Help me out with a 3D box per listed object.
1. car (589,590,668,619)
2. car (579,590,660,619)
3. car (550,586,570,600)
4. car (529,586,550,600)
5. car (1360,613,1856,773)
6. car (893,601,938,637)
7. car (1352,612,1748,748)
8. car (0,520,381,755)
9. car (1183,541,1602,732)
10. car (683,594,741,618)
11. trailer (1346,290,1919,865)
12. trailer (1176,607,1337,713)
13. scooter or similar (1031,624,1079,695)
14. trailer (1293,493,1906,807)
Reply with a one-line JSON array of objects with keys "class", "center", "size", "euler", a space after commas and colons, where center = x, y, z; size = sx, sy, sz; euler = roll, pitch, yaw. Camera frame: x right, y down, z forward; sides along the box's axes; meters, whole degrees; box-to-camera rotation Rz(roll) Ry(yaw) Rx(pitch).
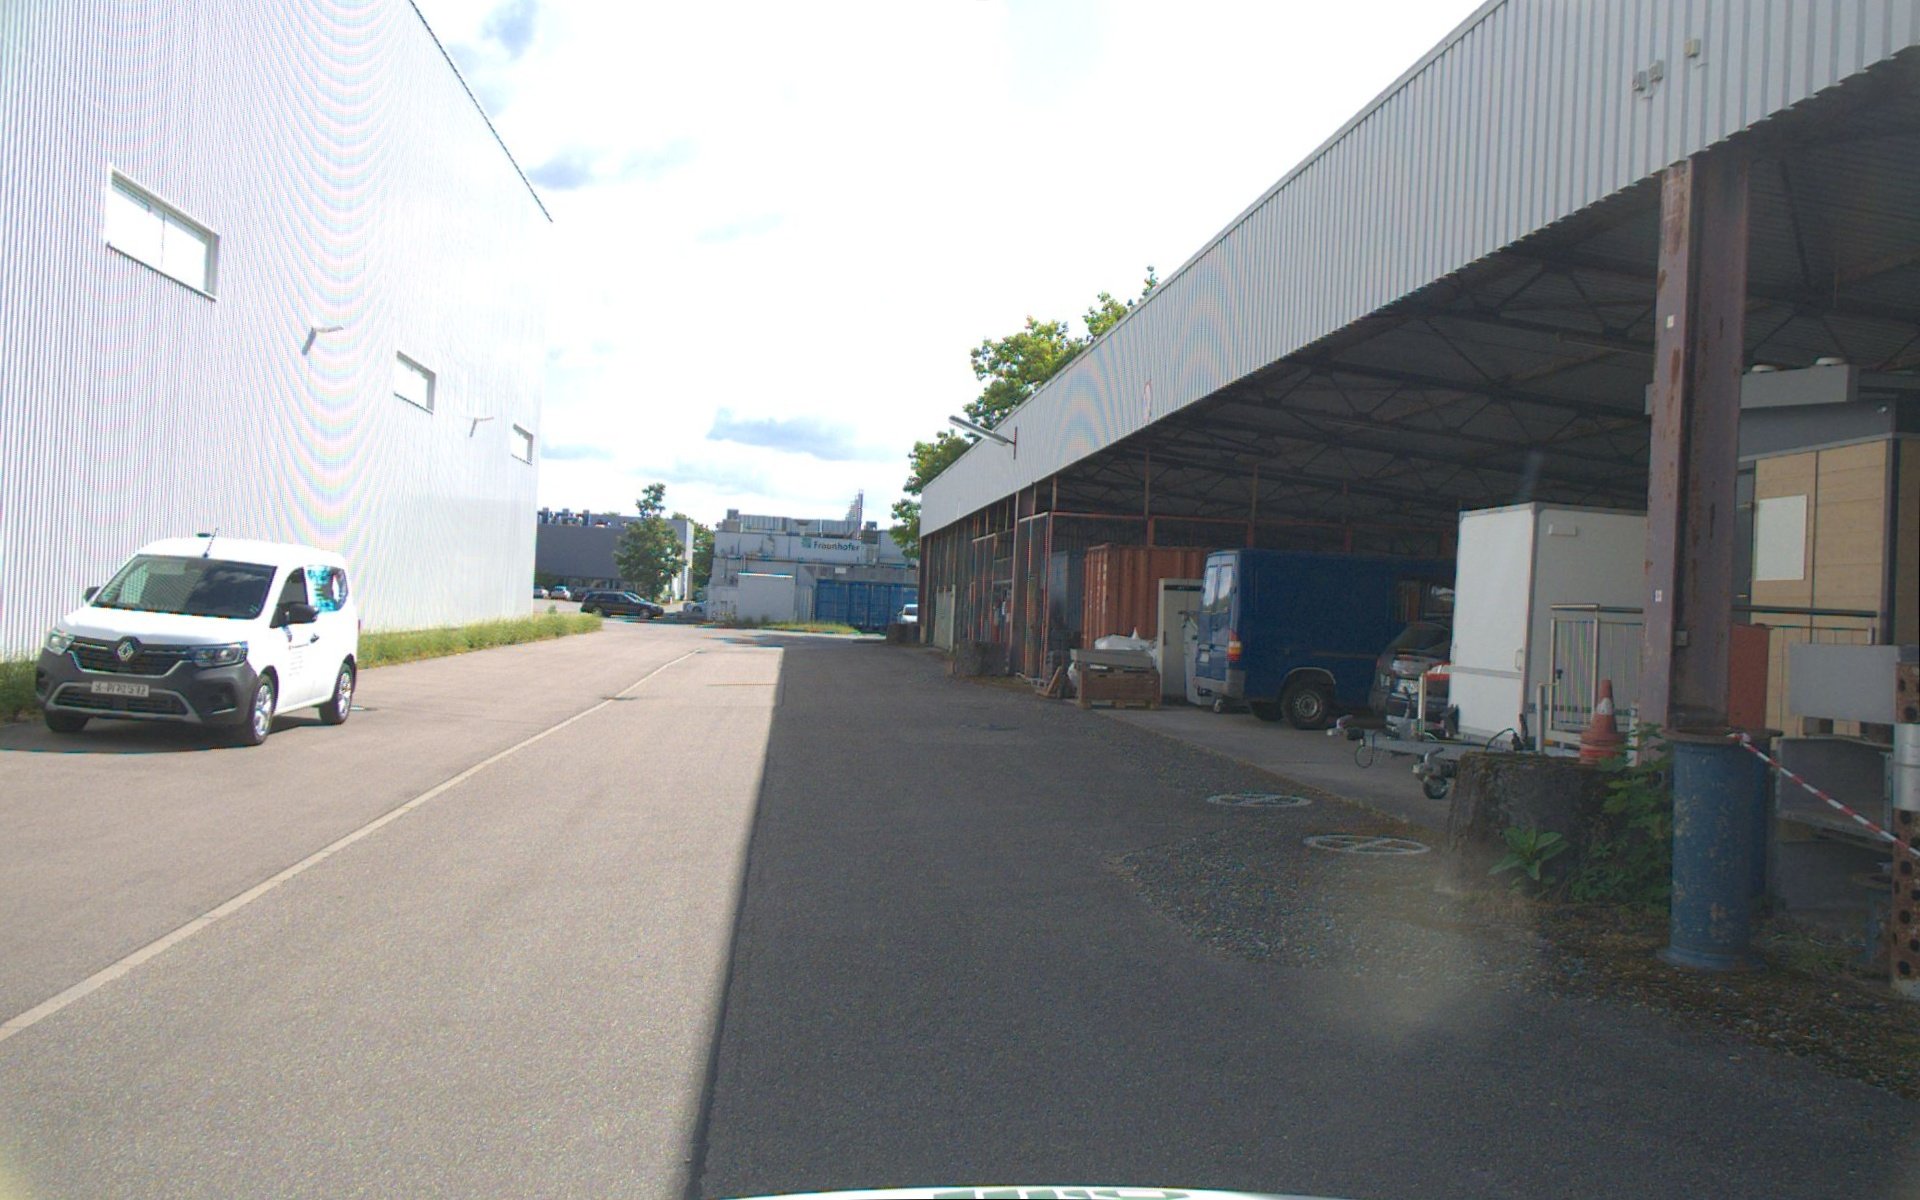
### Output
[{"class": "car", "center": [-20.077, 0.284, 100.345], "size": [4.443, 1.468, 1.901], "euler": [3, -2, -6]}, {"class": "car", "center": [-19.960, 0.273, 97.083], "size": [4.443, 1.468, 1.984], "euler": [3, -2, -6]}, {"class": "car", "center": [-46.325, -0.763, 191.535], "size": [1.842, 1.564, 4.027], "euler": [1, 0, -9]}, {"class": "car", "center": [-48.569, -0.804, 191.046], "size": [1.842, 1.564, 4.027], "euler": [1, 0, -9]}, {"class": "car", "center": [6.370, 0.898, 16.459], "size": [4.264, 1.458, 1.861], "euler": [1, -1, -10]}, {"class": "car", "center": [-2.370, 0.986, 86.493], "size": [1.943, 1.621, 4.335], "euler": [3, 1, -6]}, {"class": "car", "center": [6.908, 0.920, 19.597], "size": [4.029, 1.479, 1.848], "euler": [1, -1, -7]}, {"class": "car", "center": [-7.187, 0.315, 15.949], "size": [1.891, 1.821, 4.592], "euler": [4, 0, -6]}, {"class": "car", "center": [5.845, 0.503, 22.691], "size": [5.117, 2.337, 2.081], "euler": [2, -1, -7]}, {"class": "car", "center": [-18.728, 0.445, 125.129], "size": [4.197, 1.597, 1.984], "euler": [3, -2, -6]}, {"class": "trailer", "center": [8.038, -0.045, 11.511], "size": [10.094, 3.353, 2.672], "euler": [1, 0, -6]}, {"class": "trailer", "center": [4.468, 0.899, 25.145], "size": [2.052, 1.488, 1.640], "euler": [2, -1, -3]}, {"class": "scooter or similar", "center": [1.594, 0.989, 28.000], "size": [0.510, 1.154, 1.590], "euler": [2, -1, -6]}, {"class": "trailer", "center": [5.192, 0.411, 13.712], "size": [4.454, 2.376, 1.686], "euler": [1, 0, -6]}]
